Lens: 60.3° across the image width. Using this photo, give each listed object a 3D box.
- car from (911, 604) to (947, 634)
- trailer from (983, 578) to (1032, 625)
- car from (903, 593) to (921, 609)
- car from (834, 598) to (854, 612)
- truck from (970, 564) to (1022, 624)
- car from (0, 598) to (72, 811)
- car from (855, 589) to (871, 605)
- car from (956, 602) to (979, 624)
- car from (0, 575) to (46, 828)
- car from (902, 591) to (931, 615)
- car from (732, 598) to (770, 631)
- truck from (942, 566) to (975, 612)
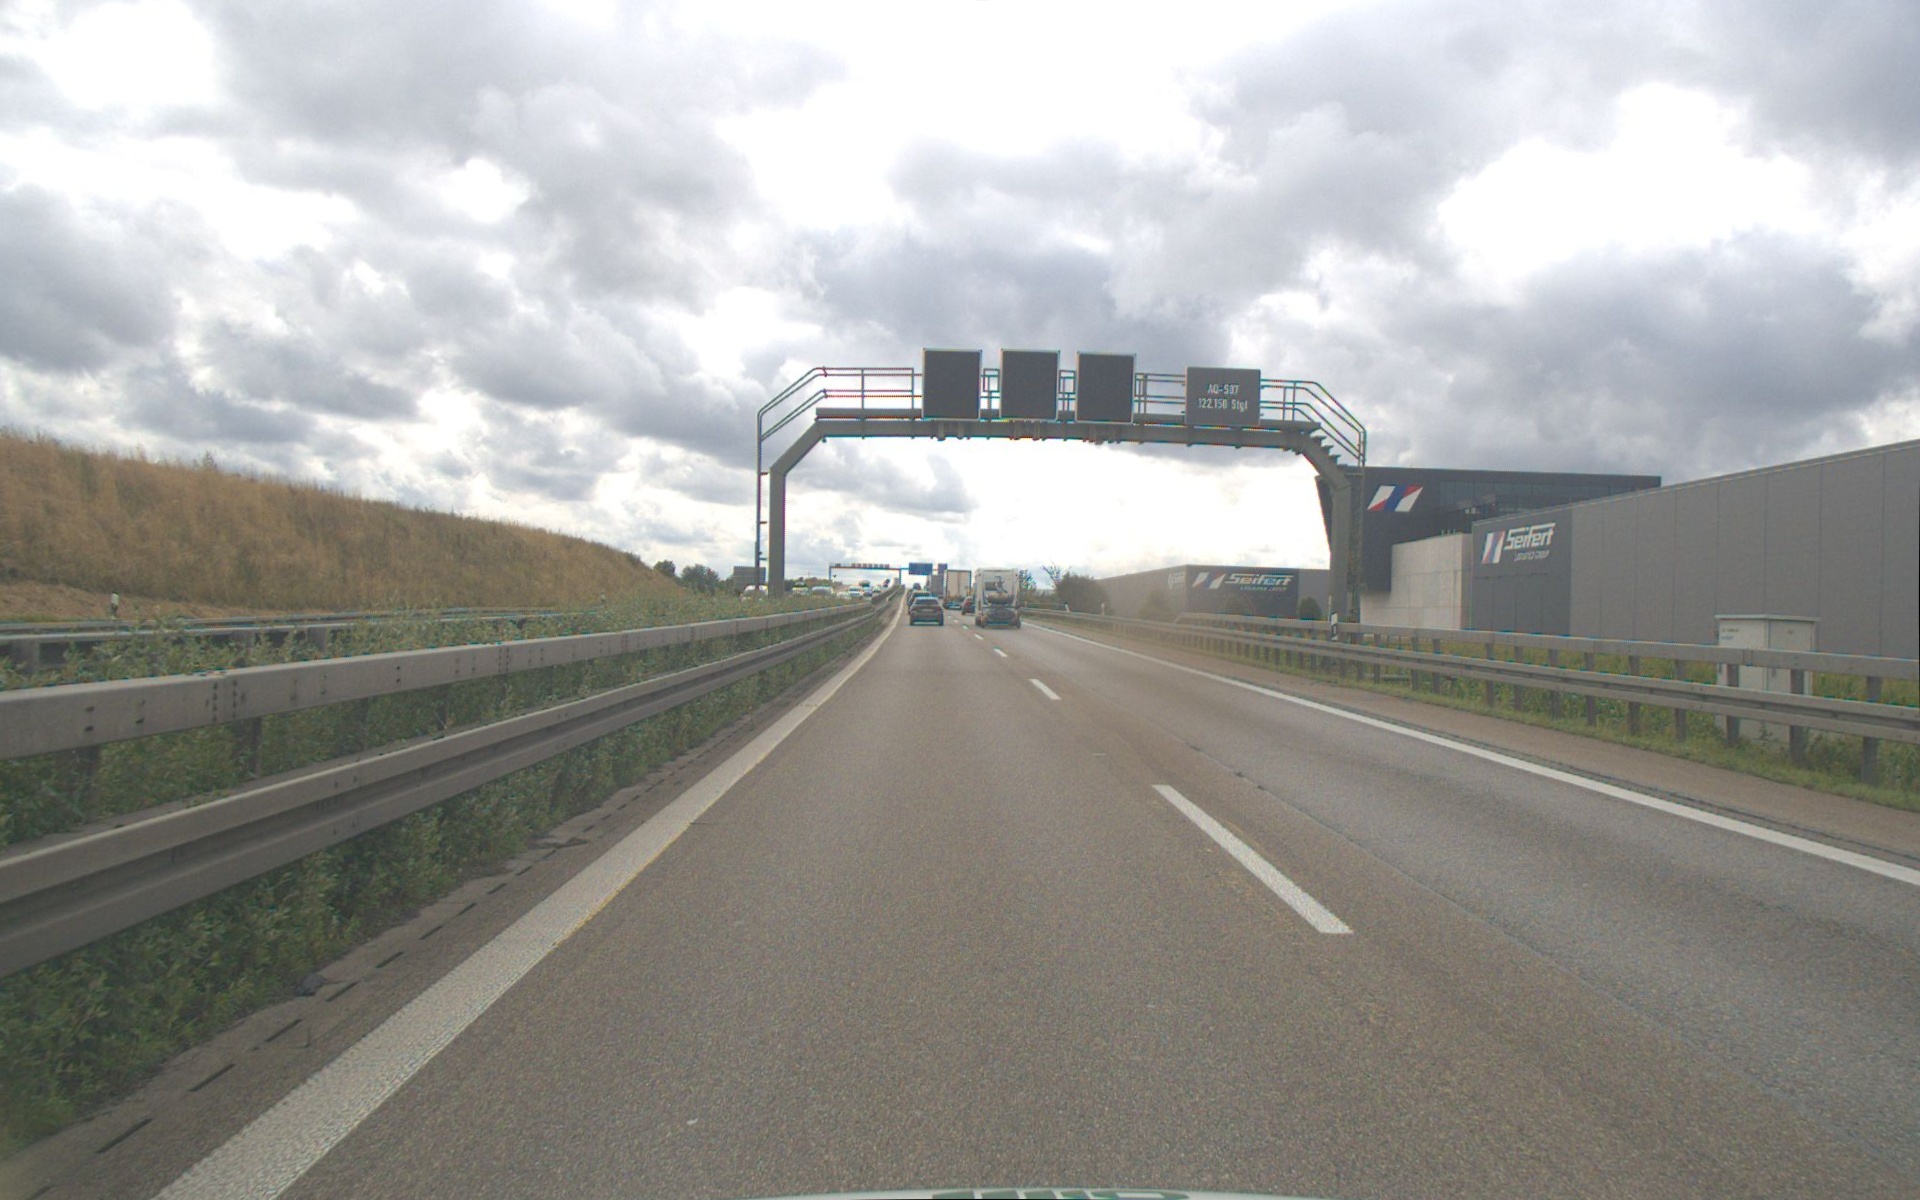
[{"bbox_3d":[-1.583,0.987,86.237,1.710,1.478,4.000,1,-1,1],"label":"car"},{"bbox_3d":[2.289,0.097,80.386,2.290,2.174,4.000,1,-1,1],"label":"trailer"},{"bbox_3d":[-5.693,0.098,195.348,1.903,1.806,3.696,1,-1,1],"label":"car"},{"bbox_3d":[-11.606,0.517,166.149,1.774,1.427,4.405,1,-1,-1],"label":"car"},{"bbox_3d":[1.857,-0.267,87.519,2.431,3.002,5.813,1,-1,-1],"label":"truck"},{"bbox_3d":[-8.118,0.768,11.534,1.701,1.618,3.999,1,-1,-1],"label":"car"},{"bbox_3d":[-12.060,-0.379,205.780,1.791,1.918,5.417,1,-1,-1],"label":"car"},{"bbox_3d":[0.590,1.018,129.730,1.764,1.714,4.000,1,-1,0],"label":"car"},{"bbox_3d":[-7.937,0.714,10.701,1.820,1.862,3.999,1,-1,-1],"label":"car"},{"bbox_3d":[-3.236,0.243,123.517,1.905,1.714,4.000,1,-1,1],"label":"car"},{"bbox_3d":[-13.673,0.941,108.322,1.953,2.049,4.707,1,0,-1],"label":"car"},{"bbox_3d":[-0.215,-1.115,173.649,3.271,4.613,8.014,1,-1,-1],"label":"truck"}]
